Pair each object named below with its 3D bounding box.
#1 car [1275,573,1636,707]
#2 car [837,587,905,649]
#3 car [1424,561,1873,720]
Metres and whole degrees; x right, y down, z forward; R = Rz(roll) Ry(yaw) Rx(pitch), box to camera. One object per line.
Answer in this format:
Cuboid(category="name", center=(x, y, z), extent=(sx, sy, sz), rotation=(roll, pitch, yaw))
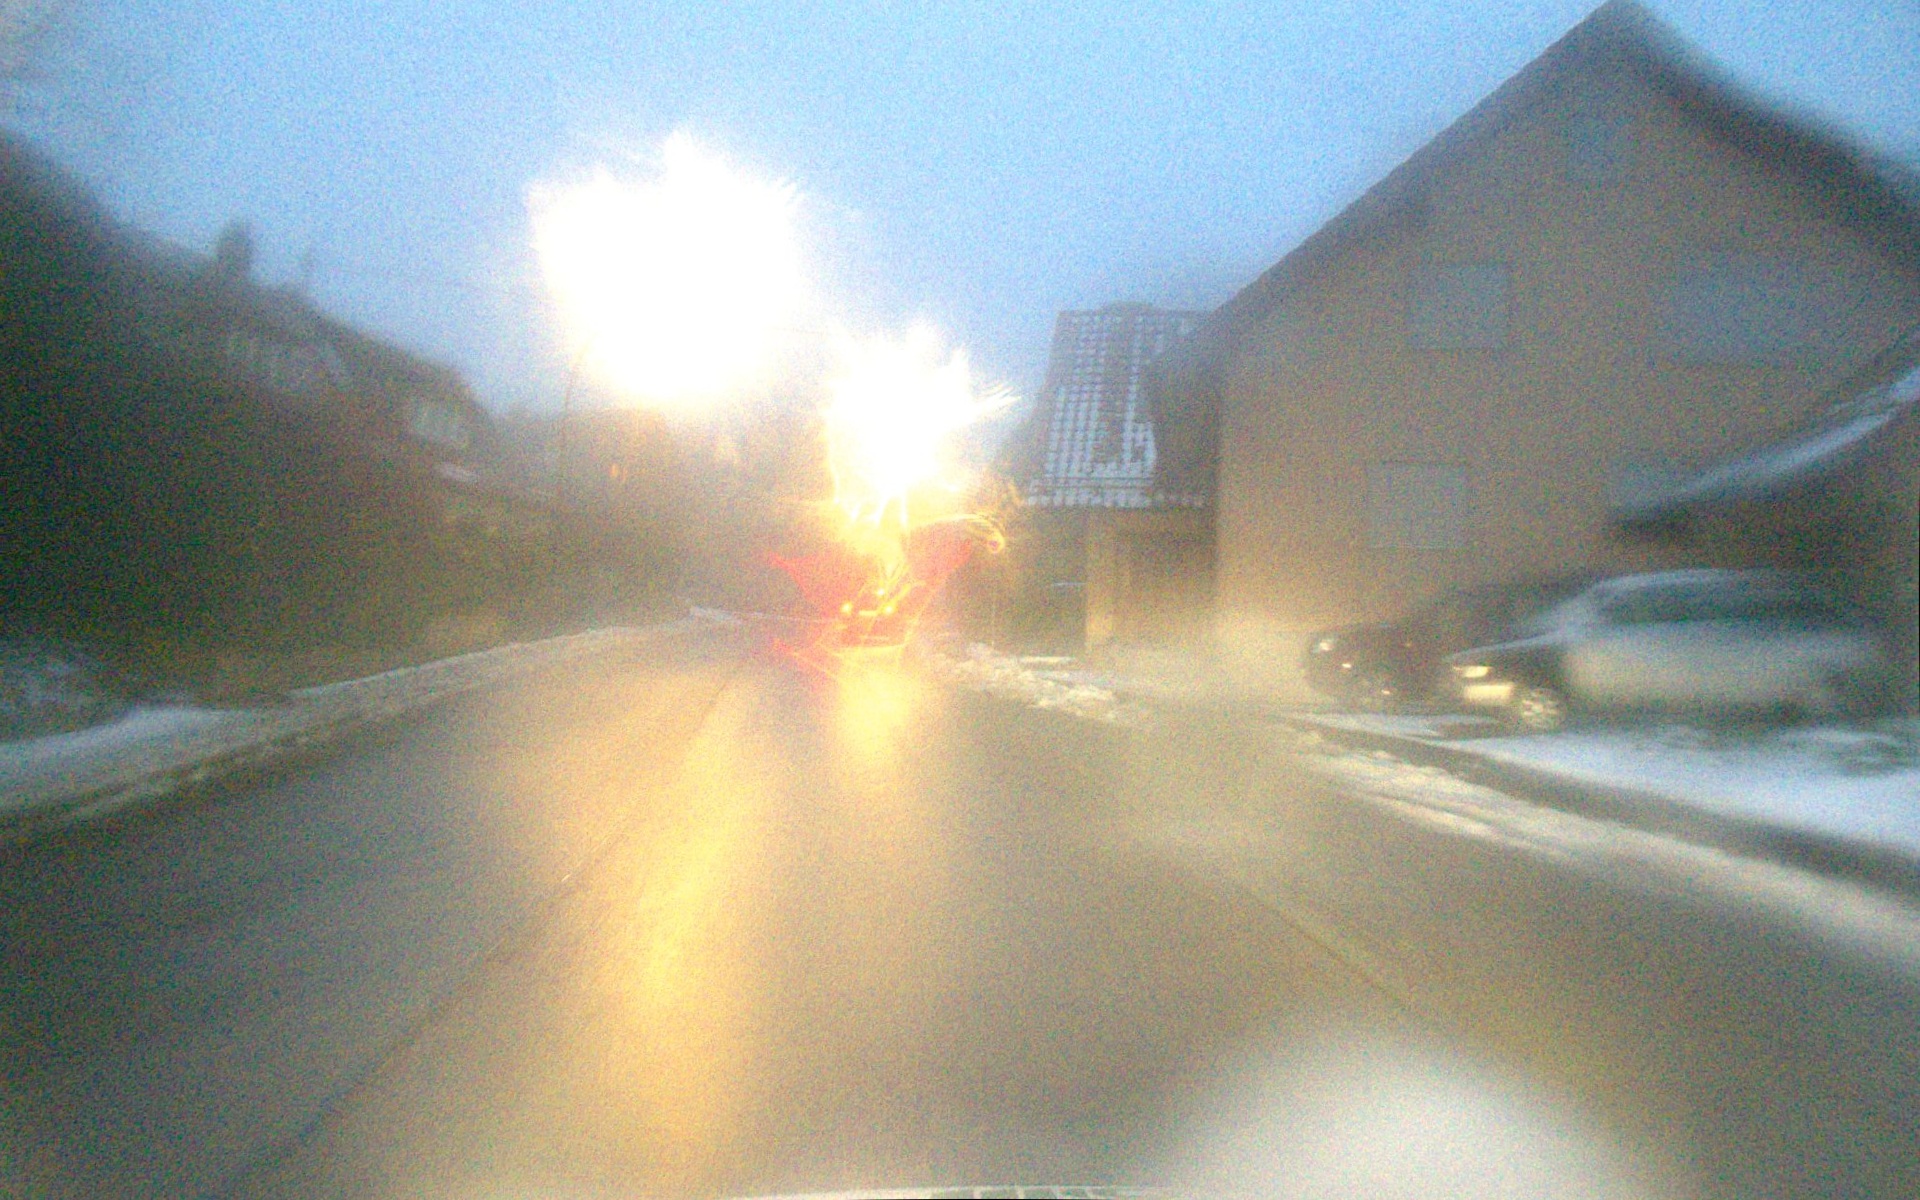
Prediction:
Cuboid(category="car", center=(6.190, 0.540, 21.105), extent=(4.070, 1.587, 1.947), rotation=(-1, -3, 5))
Cuboid(category="car", center=(-2.787, 0.596, 51.009), extent=(1.955, 1.767, 3.873), rotation=(0, -3, -5))
Cuboid(category="car", center=(7.350, 0.480, 18.107), extent=(4.152, 1.587, 2.001), rotation=(-1, -3, 10))
